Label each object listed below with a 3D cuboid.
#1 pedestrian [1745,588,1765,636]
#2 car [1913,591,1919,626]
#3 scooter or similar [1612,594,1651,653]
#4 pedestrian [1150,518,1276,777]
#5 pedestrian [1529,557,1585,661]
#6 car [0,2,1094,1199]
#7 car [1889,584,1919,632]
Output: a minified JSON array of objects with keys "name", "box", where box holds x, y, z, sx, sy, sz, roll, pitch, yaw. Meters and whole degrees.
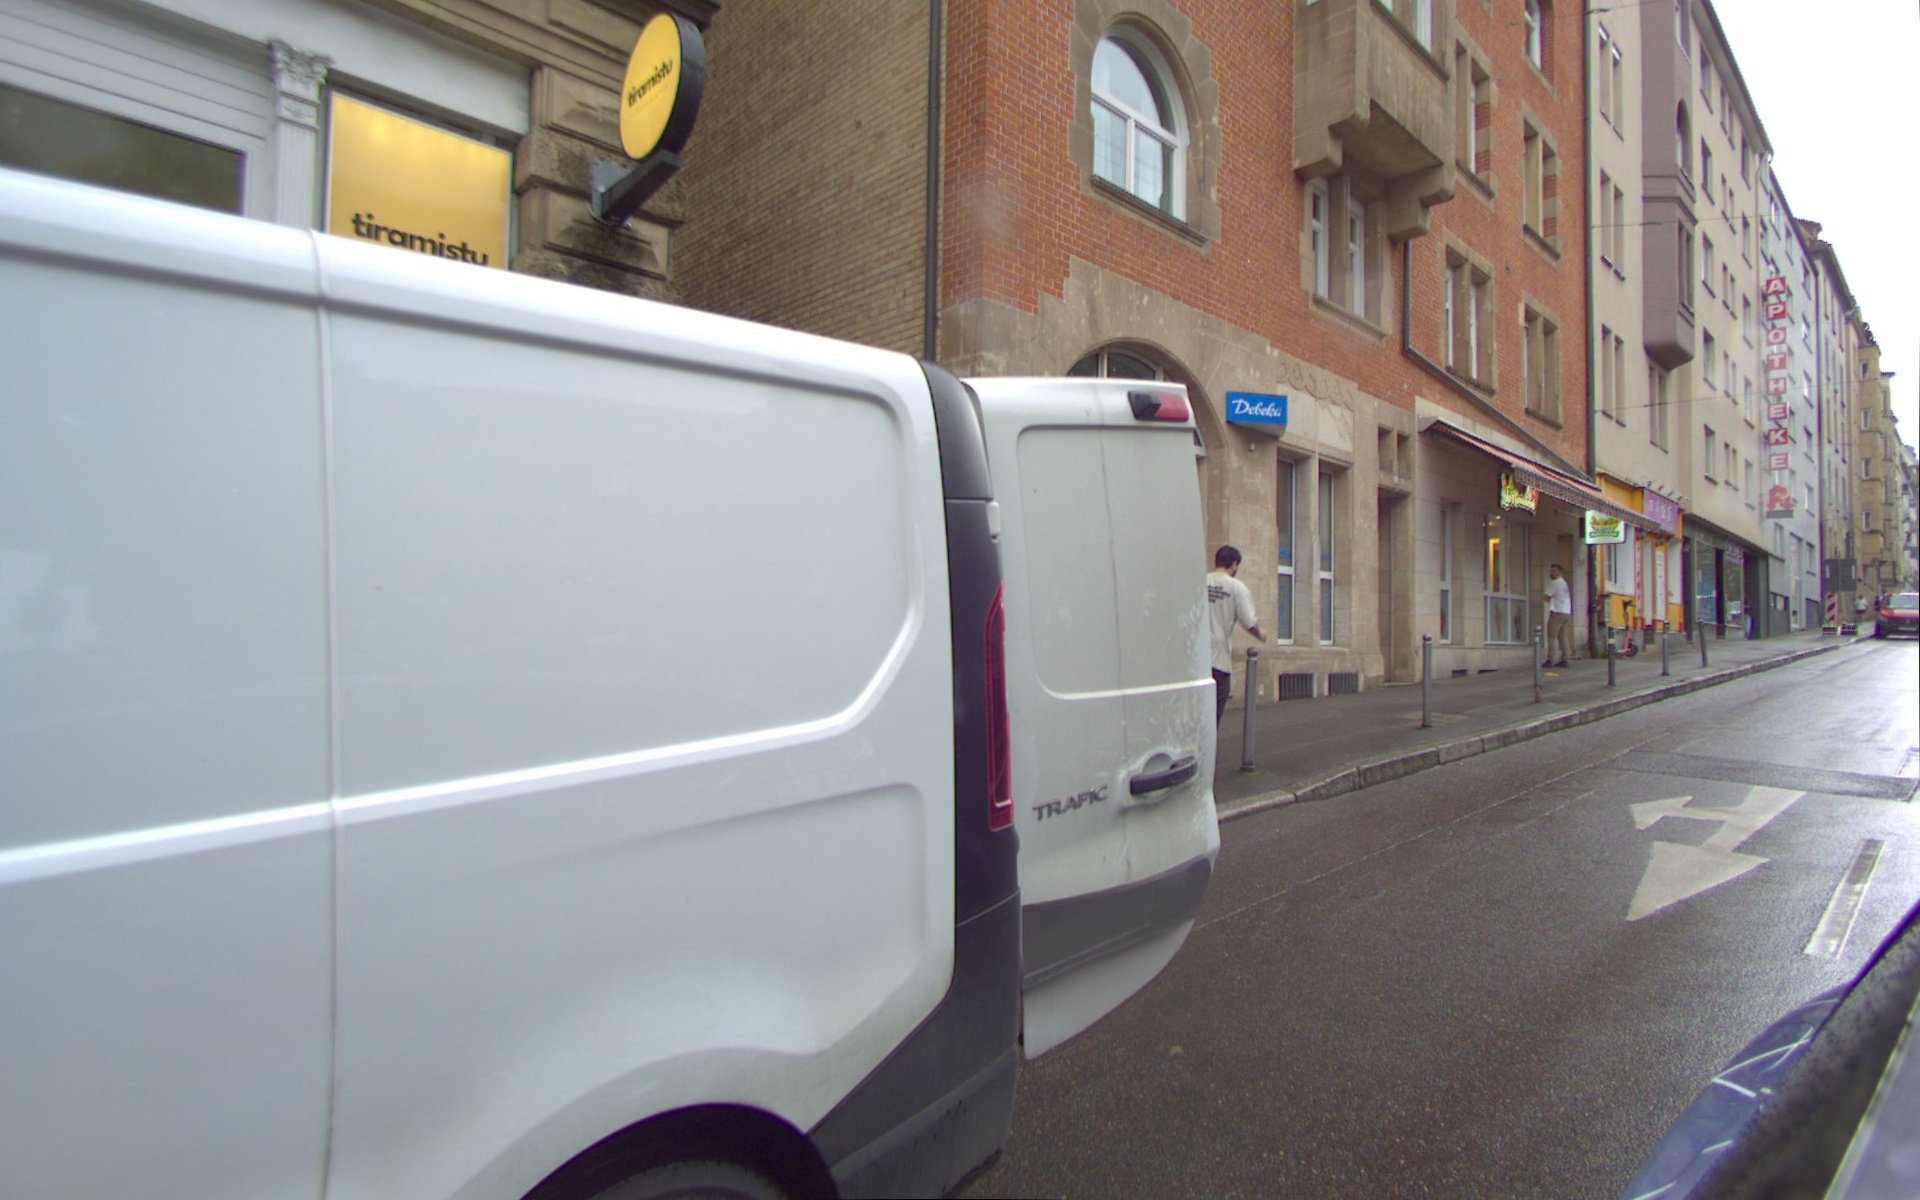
[{"name":"pedestrian","box":[27.677,0.410,35.250,0.479,1.666,0.327,-2,-2,35]},{"name":"car","box":[50.017,0.455,51.592,4.423,1.730,1.767,1,-1,-43]},{"name":"scooter or similar","box":[14.380,0.510,21.678,1.171,1.237,0.258,1,-2,-34]},{"name":"pedestrian","box":[1.882,0.319,7.487,0.682,1.776,0.826,0,0,33]},{"name":"pedestrian","box":[10.877,0.158,18.442,0.567,1.852,0.565,1,2,-11]},{"name":"car","box":[-2.063,0.417,1.200,4.606,1.960,1.923,0,0,-43]},{"name":"car","box":[38.590,0.293,40.475,1.975,1.861,5.161,0,0,44]}]
